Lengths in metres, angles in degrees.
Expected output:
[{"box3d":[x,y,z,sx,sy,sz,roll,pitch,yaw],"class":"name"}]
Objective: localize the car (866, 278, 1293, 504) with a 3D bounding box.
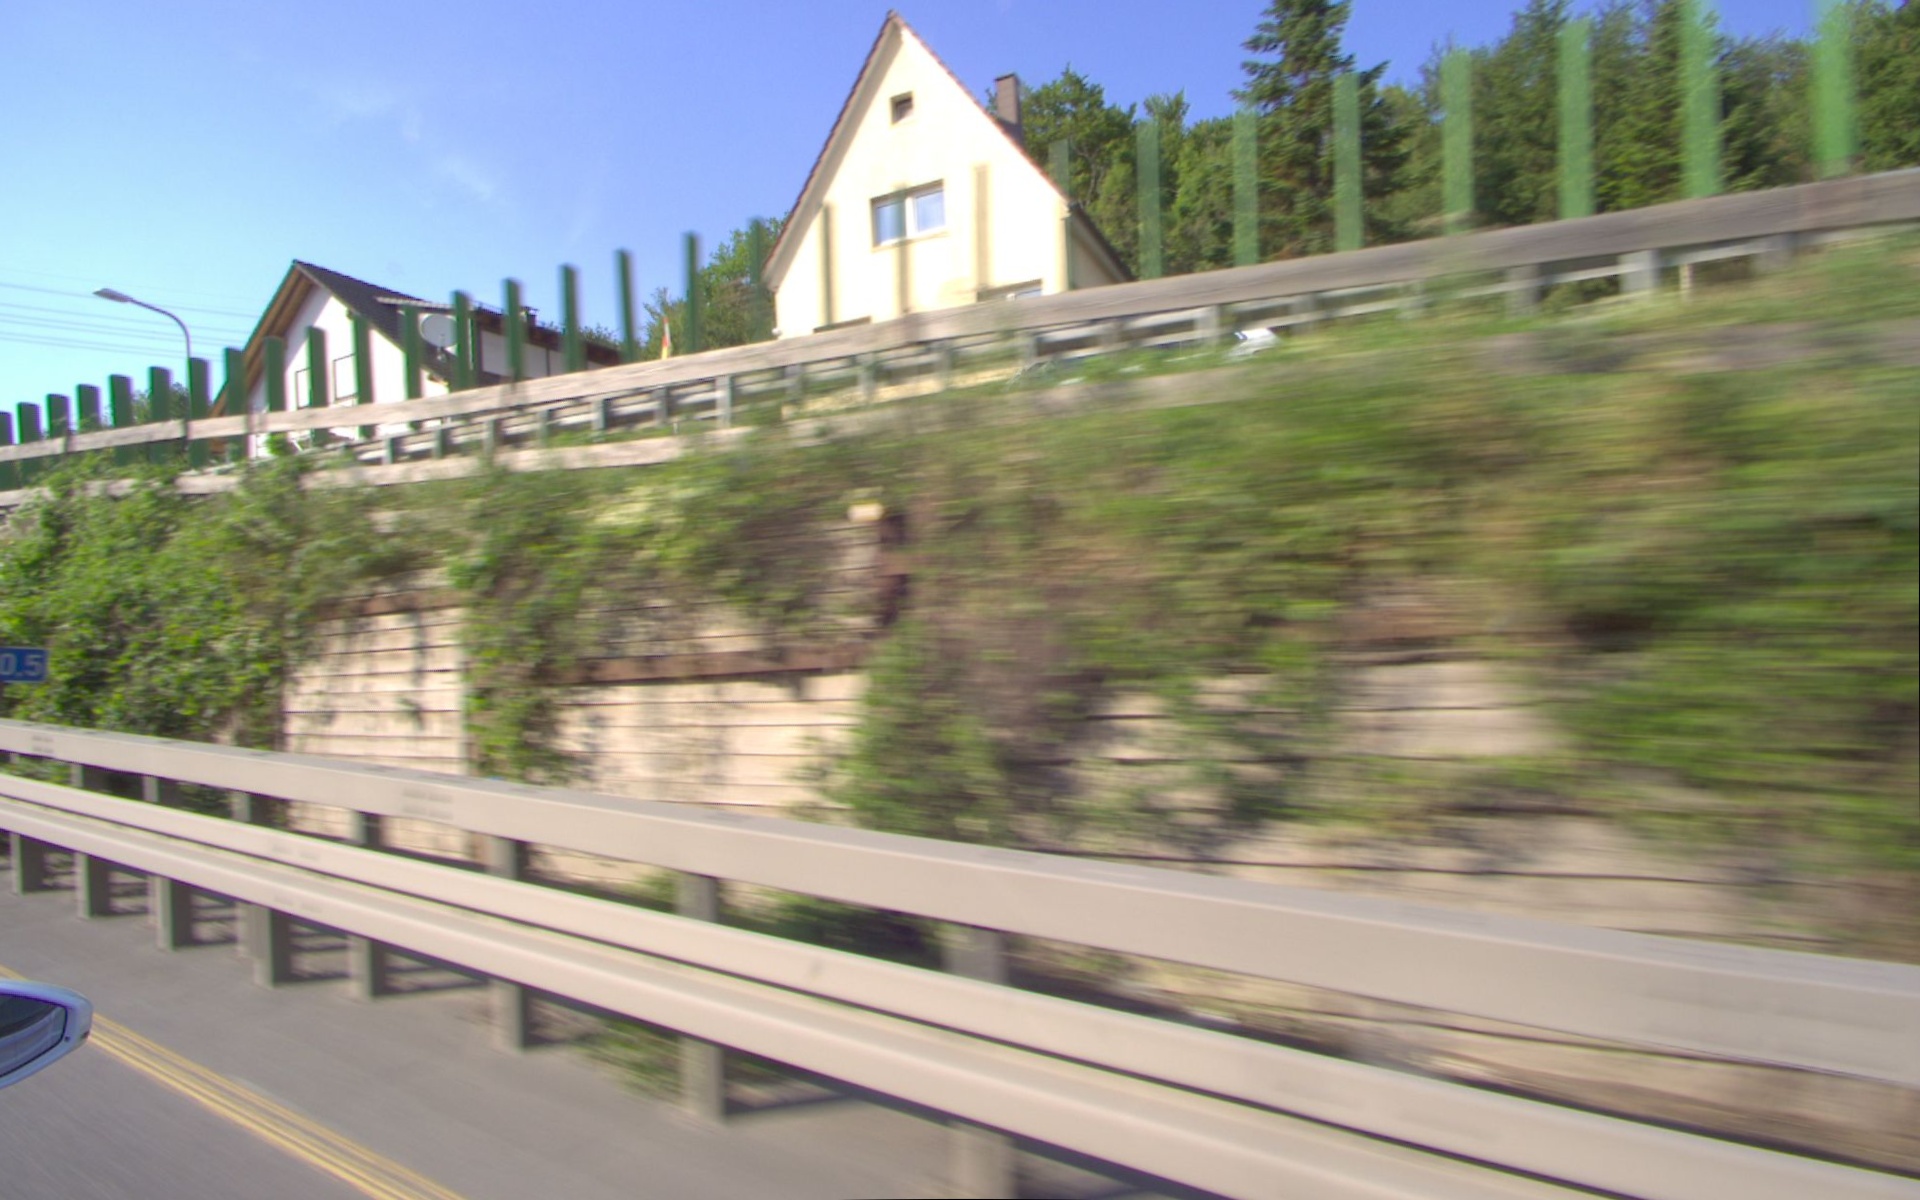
[{"box3d":[1.365,-2.229,11.551,4.570,1.679,1.699,-3,-1,22],"class":"car"}]
